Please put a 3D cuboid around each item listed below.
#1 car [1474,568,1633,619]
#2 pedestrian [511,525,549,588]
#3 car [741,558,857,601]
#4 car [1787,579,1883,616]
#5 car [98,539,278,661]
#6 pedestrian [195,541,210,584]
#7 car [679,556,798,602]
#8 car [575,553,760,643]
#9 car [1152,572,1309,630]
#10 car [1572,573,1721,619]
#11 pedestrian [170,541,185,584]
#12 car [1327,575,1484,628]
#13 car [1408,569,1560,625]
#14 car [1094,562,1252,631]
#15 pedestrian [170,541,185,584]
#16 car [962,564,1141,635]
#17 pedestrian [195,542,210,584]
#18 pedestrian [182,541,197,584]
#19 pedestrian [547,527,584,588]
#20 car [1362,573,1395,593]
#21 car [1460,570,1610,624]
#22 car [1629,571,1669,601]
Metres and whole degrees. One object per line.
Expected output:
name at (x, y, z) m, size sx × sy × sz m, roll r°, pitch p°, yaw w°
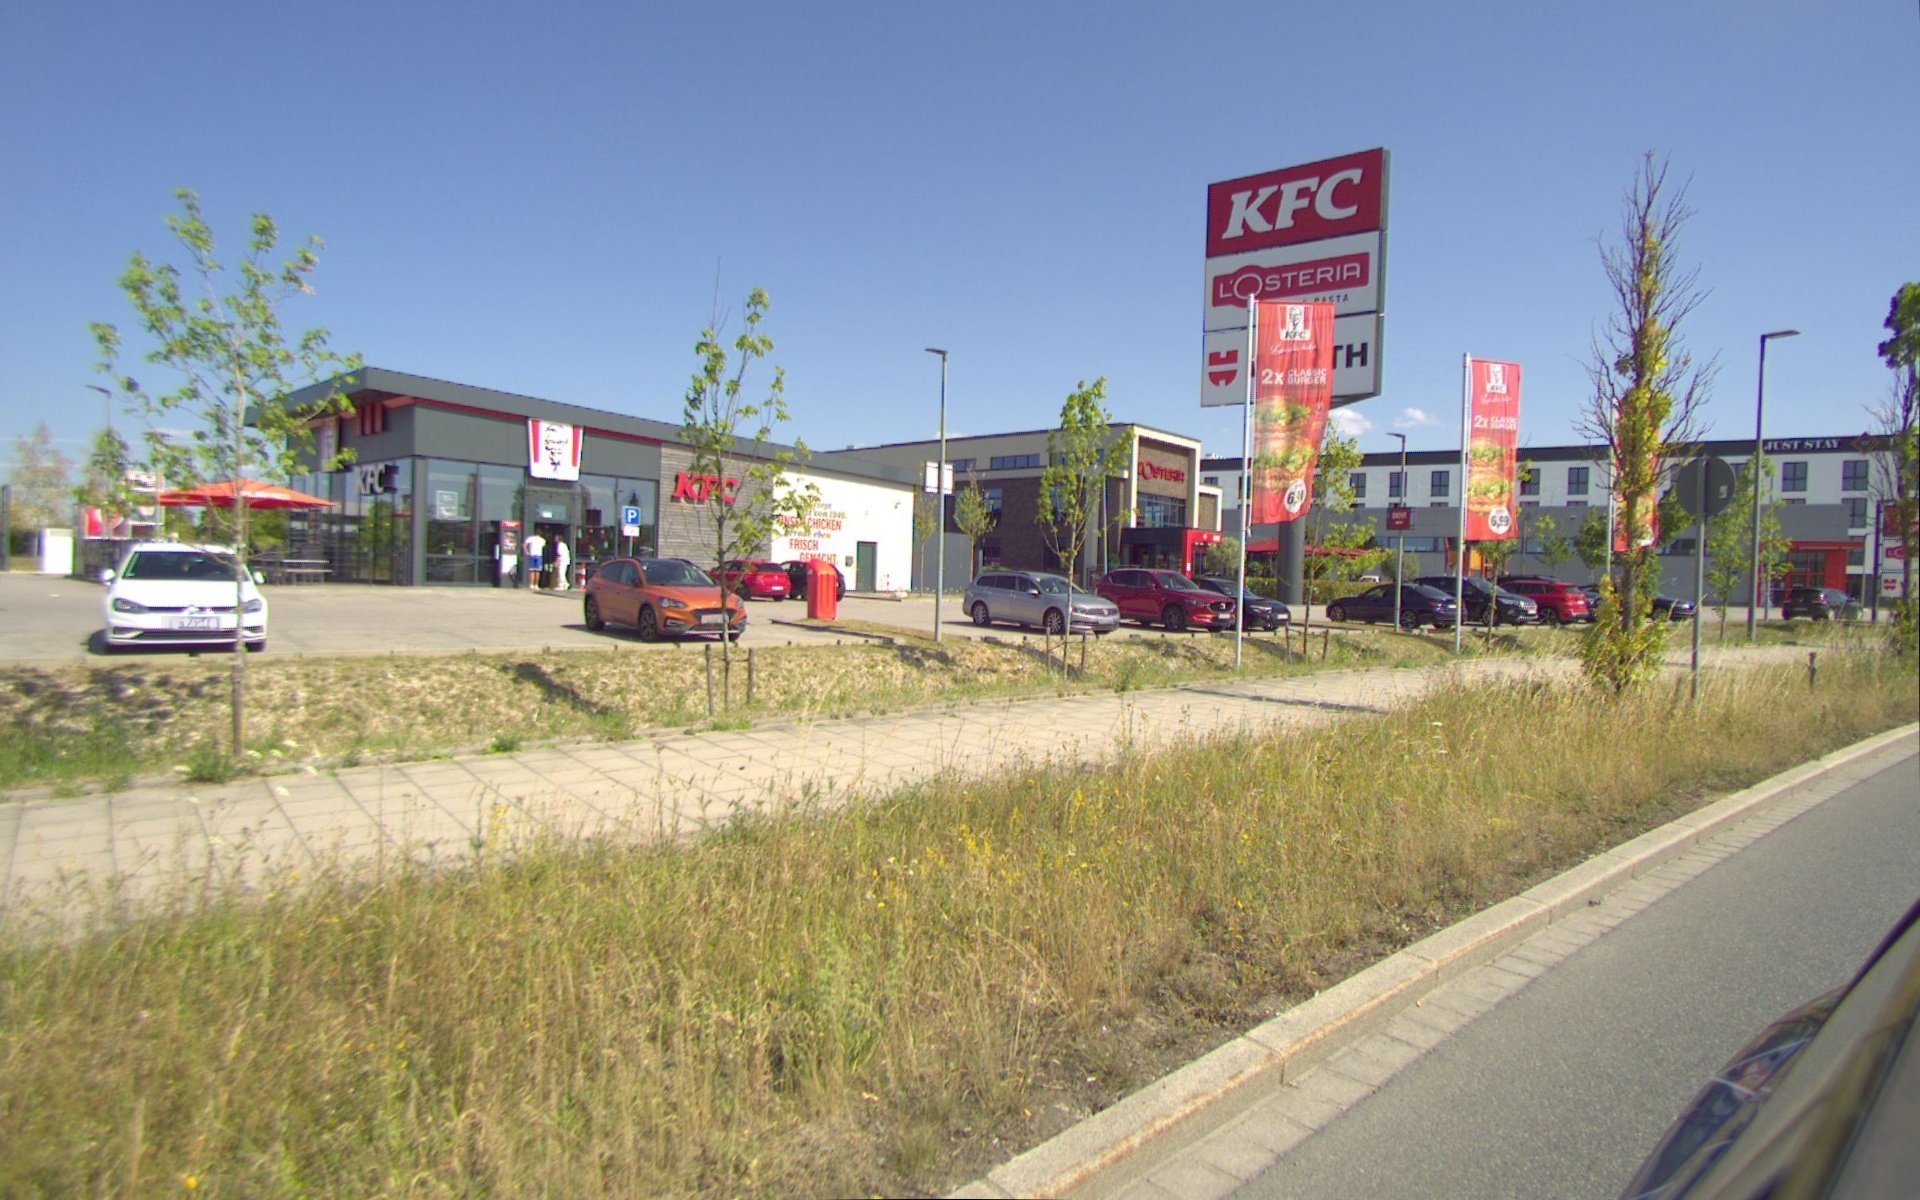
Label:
car at (23.051, -0.303, 39.508) m, size 1.901 × 1.756 × 5.004 m, roll 1°, pitch 2°, yaw -32°
pedestrian at (-14.156, -1.413, 33.319) m, size 0.876 × 2.038 × 0.914 m, roll 0°, pitch 2°, yaw -44°
car at (-6.101, -0.796, 38.085) m, size 4.554 × 1.449 × 1.840 m, roll 4°, pitch 3°, yaw 42°
car at (39.158, -0.102, 45.286) m, size 4.083 × 1.559 × 1.789 m, roll 0°, pitch 2°, yaw -26°
car at (-11.397, -0.096, 14.809) m, size 1.836 × 1.508 × 4.535 m, roll 0°, pitch 2°, yaw -40°
pedestrian at (-22.495, -1.106, 30.066) m, size 0.379 × 1.255 × 0.288 m, roll 2°, pitch 2°, yaw 41°
car at (-7.937, -0.785, 36.097) m, size 4.554 × 1.449 × 1.840 m, roll 4°, pitch 3°, yaw 42°
car at (-5.717, -0.109, 19.481) m, size 1.836 × 1.508 × 4.213 m, roll 0°, pitch 2°, yaw -41°
car at (7.819, -0.012, 29.522) m, size 1.759 × 1.467 × 4.164 m, roll 1°, pitch 2°, yaw -39°
car at (27.121, -0.198, 40.110) m, size 1.956 × 1.585 × 4.425 m, roll 1°, pitch 2°, yaw -32°
pedestrian at (-22.877, -1.100, 29.581) m, size 0.379 × 1.255 × 0.288 m, roll 2°, pitch 2°, yaw 41°
car at (14.322, 0.002, 32.802) m, size 1.755 × 1.467 × 4.426 m, roll 1°, pitch 2°, yaw -31°
car at (18.253, -0.148, 35.458) m, size 1.755 × 1.756 × 4.427 m, roll 1°, pitch 2°, yaw -30°
car at (5.798, -0.134, 28.029) m, size 1.832 × 1.685 × 4.171 m, roll 1°, pitch 2°, yaw -33°
pedestrian at (-23.373, -1.121, 30.229) m, size 0.379 × 1.255 × 0.288 m, roll 2°, pitch 2°, yaw 41°
car at (2.166, -0.067, 25.241) m, size 1.834 × 1.508 × 4.570 m, roll 1°, pitch 2°, yaw -37°
pedestrian at (-22.988, -1.126, 30.698) m, size 0.379 × 1.255 × 0.288 m, roll 2°, pitch 2°, yaw 41°
pedestrian at (-22.694, -1.103, 29.822) m, size 0.379 × 1.255 × 0.288 m, roll 2°, pitch 2°, yaw 41°
pedestrian at (-13.376, -1.424, 34.295) m, size 0.876 × 2.038 × 0.914 m, roll 0°, pitch 2°, yaw -44°
car at (31.648, -1.290, 76.490) m, size 1.689 × 1.480 × 4.063 m, roll 2°, pitch 2°, yaw 31°
car at (20.872, -0.145, 36.917) m, size 1.755 × 1.756 × 4.427 m, roll 1°, pitch 2°, yaw -30°
car at (45.282, -0.941, 66.579) m, size 2.034 × 1.838 × 4.866 m, roll 2°, pitch 2°, yaw 33°
